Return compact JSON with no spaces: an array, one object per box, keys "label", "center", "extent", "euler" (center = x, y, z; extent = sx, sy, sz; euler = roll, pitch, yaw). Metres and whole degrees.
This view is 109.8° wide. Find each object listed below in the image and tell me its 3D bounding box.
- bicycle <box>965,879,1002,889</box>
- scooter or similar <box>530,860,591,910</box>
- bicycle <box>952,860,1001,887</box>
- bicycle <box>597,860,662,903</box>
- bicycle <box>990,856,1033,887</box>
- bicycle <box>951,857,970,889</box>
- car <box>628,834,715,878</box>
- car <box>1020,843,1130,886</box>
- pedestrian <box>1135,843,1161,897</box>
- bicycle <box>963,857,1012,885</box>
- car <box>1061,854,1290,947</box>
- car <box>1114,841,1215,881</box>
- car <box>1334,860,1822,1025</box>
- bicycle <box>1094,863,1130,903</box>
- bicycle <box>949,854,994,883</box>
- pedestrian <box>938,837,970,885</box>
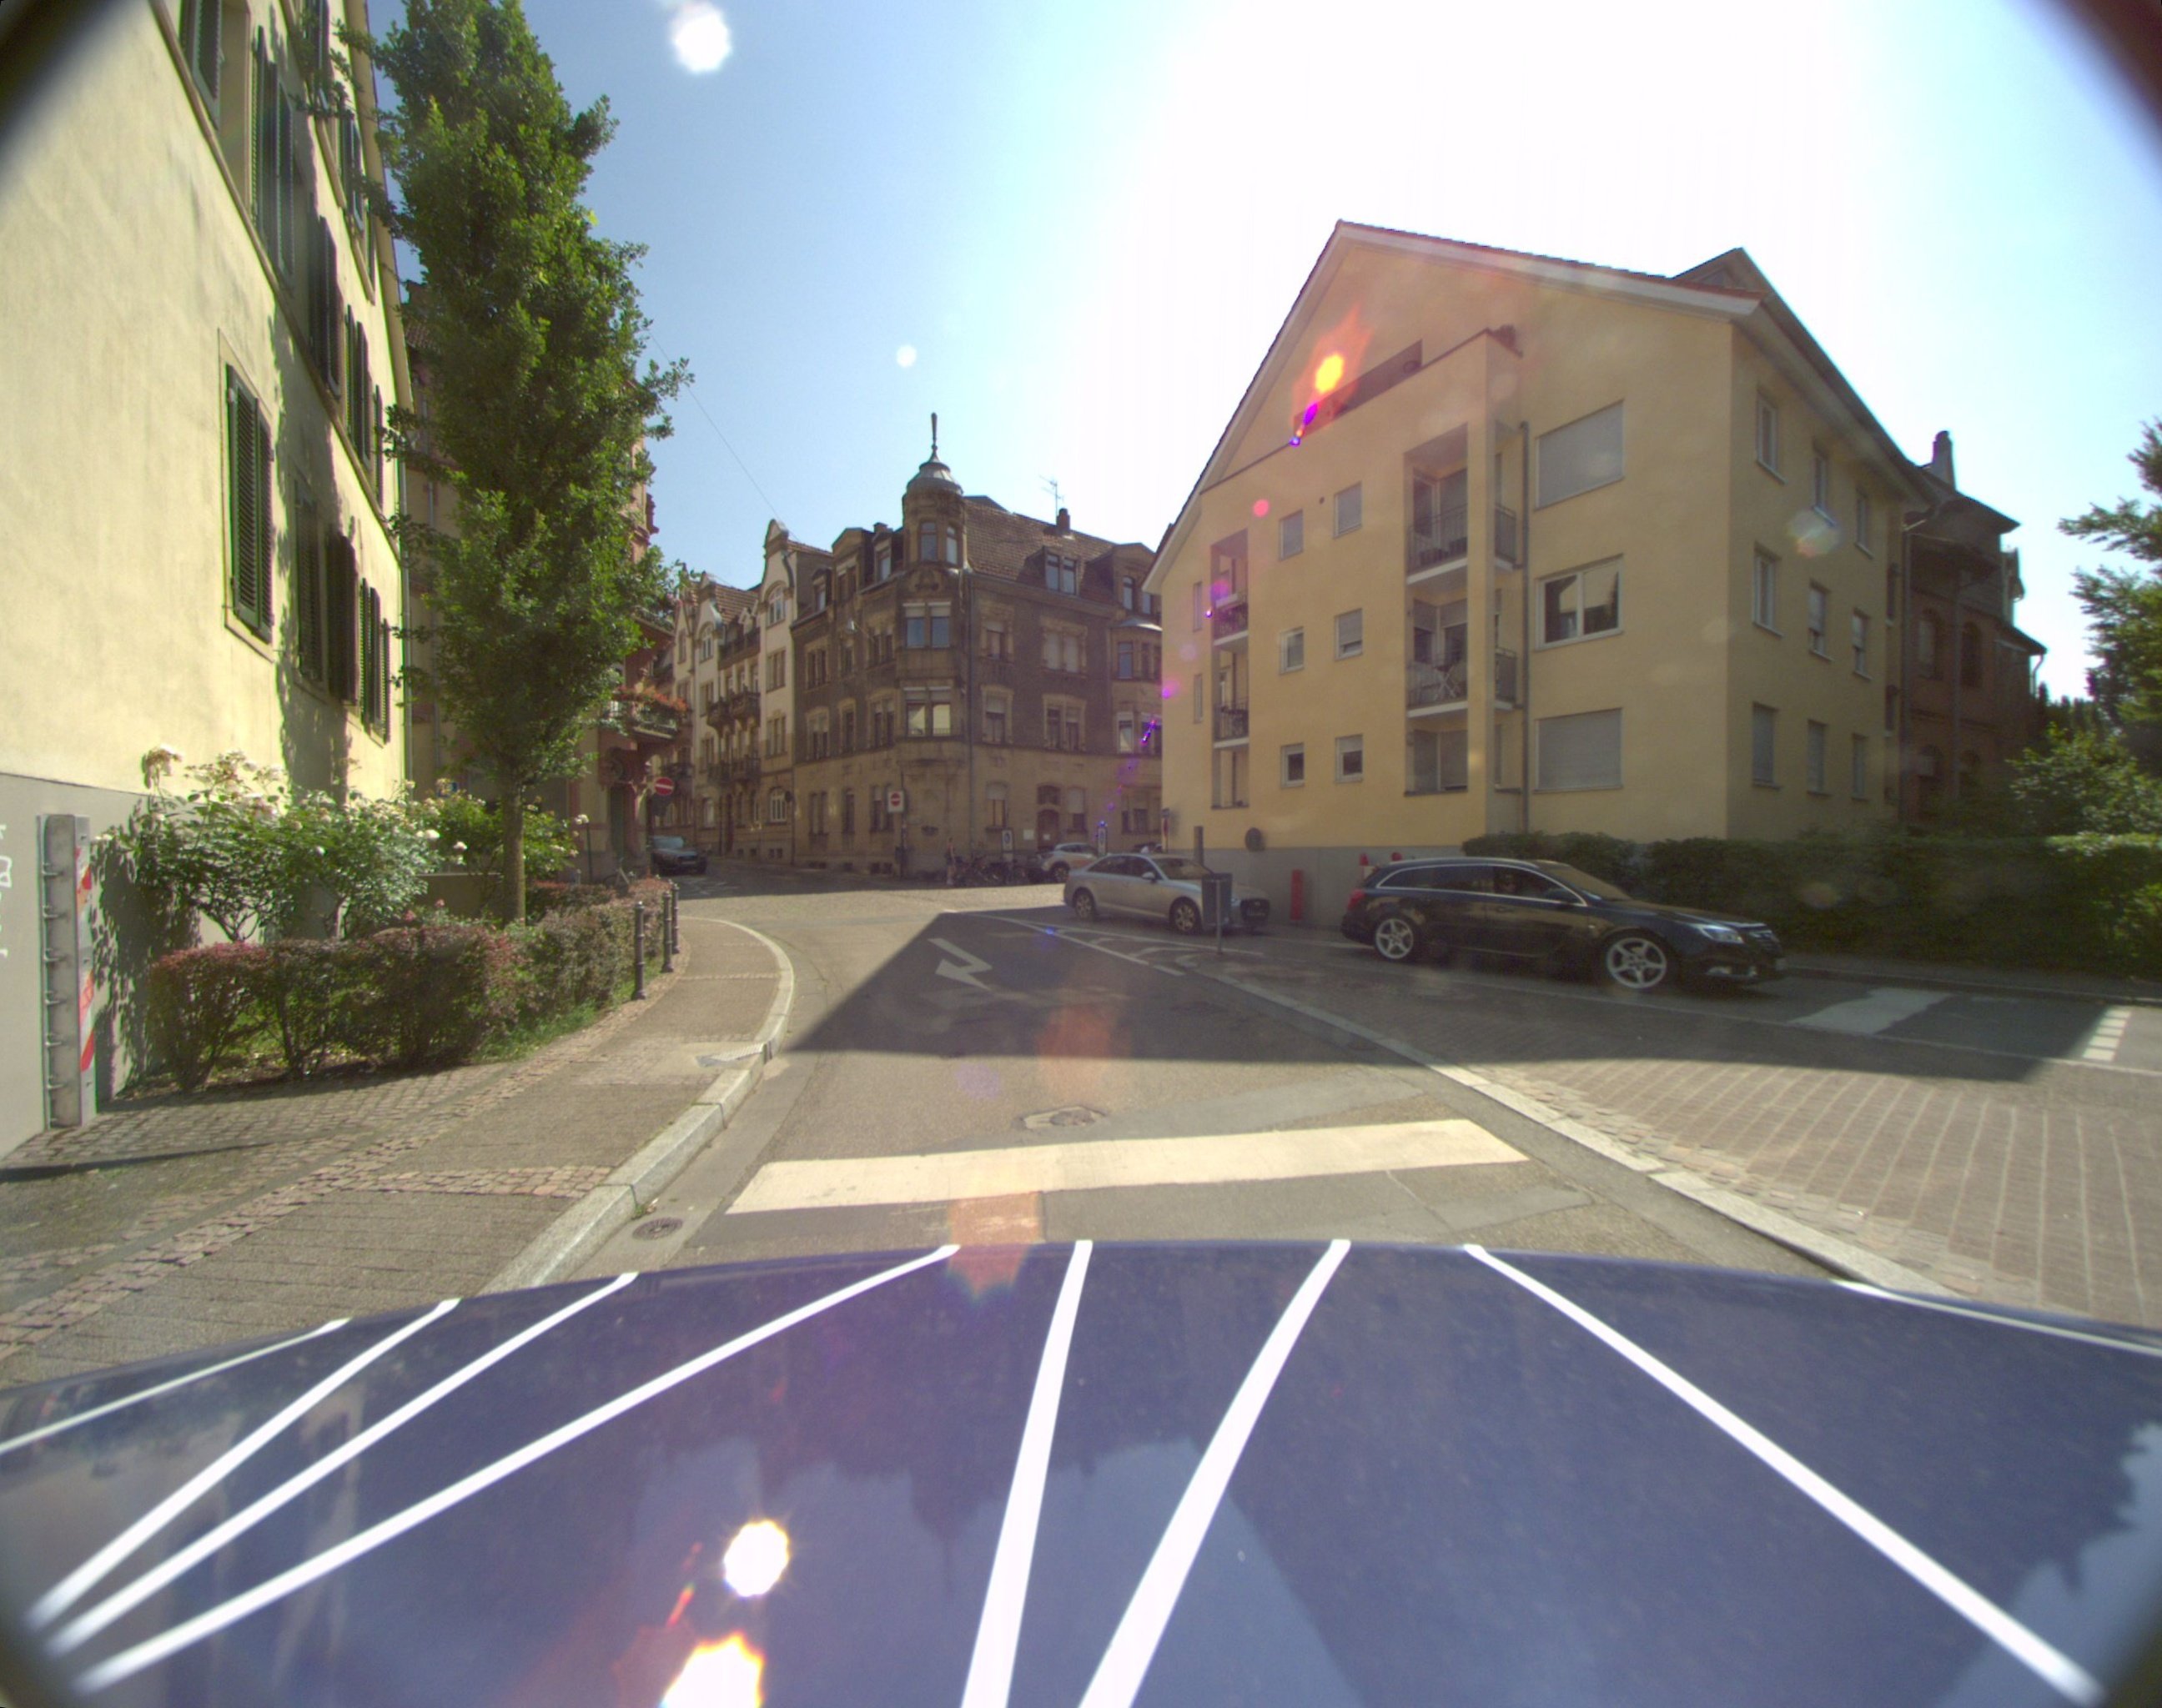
[{"label":"bicycle","center":[-3.525,1.070,27.371],"extent":[1.079,0.286,1.121],"euler":[0,1,-22]},{"label":"scooter or similar","center":[-13.382,0.777,19.542],"extent":[0.441,1.228,1.193],"euler":[1,1,41]},{"label":"bicycle","center":[-3.807,0.700,27.644],"extent":[1.637,1.084,0.285],"euler":[1,46,43]},{"label":"bicycle","center":[-12.539,0.744,21.091],"extent":[1.789,1.140,0.506],"euler":[1,1,18]},{"label":"bicycle","center":[-2.546,0.657,27.793],"extent":[1.638,1.079,0.286],"euler":[-2,-2,27]},{"label":"bicycle","center":[-4.341,0.656,27.277],"extent":[0.286,1.080,1.639],"euler":[-4,2,-21]},{"label":"car","center":[-16.912,0.035,31.318],"extent":[4.246,1.574,1.866],"euler":[3,5,44]},{"label":"car","center":[-0.203,0.361,29.671],"extent":[3.936,1.535,1.847],"euler":[-1,1,-36]},{"label":"pedestrian","center":[2.056,0.477,23.307],"extent":[0.658,1.609,0.492],"euler":[-1,2,-24]},{"label":"bicycle","center":[-3.453,0.625,27.993],"extent":[1.637,1.084,0.285],"euler":[1,46,43]},{"label":"car","center":[1.671,0.761,14.812],"extent":[1.881,1.484,4.370],"euler":[-1,1,-38]},{"label":"car","center":[3.570,0.267,32.145],"extent":[4.007,1.535,1.848],"euler":[-2,1,-35]},{"label":"car","center":[5.717,0.850,9.390],"extent":[1.723,1.453,4.711],"euler":[1,0,-38]},{"label":"bicycle","center":[0.880,0.821,22.218],"extent":[0.392,1.073,1.906],"euler":[0,1,-18]},{"label":"bicycle","center":[-4.276,0.543,29.666],"extent":[1.645,1.080,0.494],"euler":[0,5,-36]},{"label":"pedestrian","center":[-4.741,0.250,28.366],"extent":[0.982,1.749,0.621],"euler":[-2,5,-36]}]
